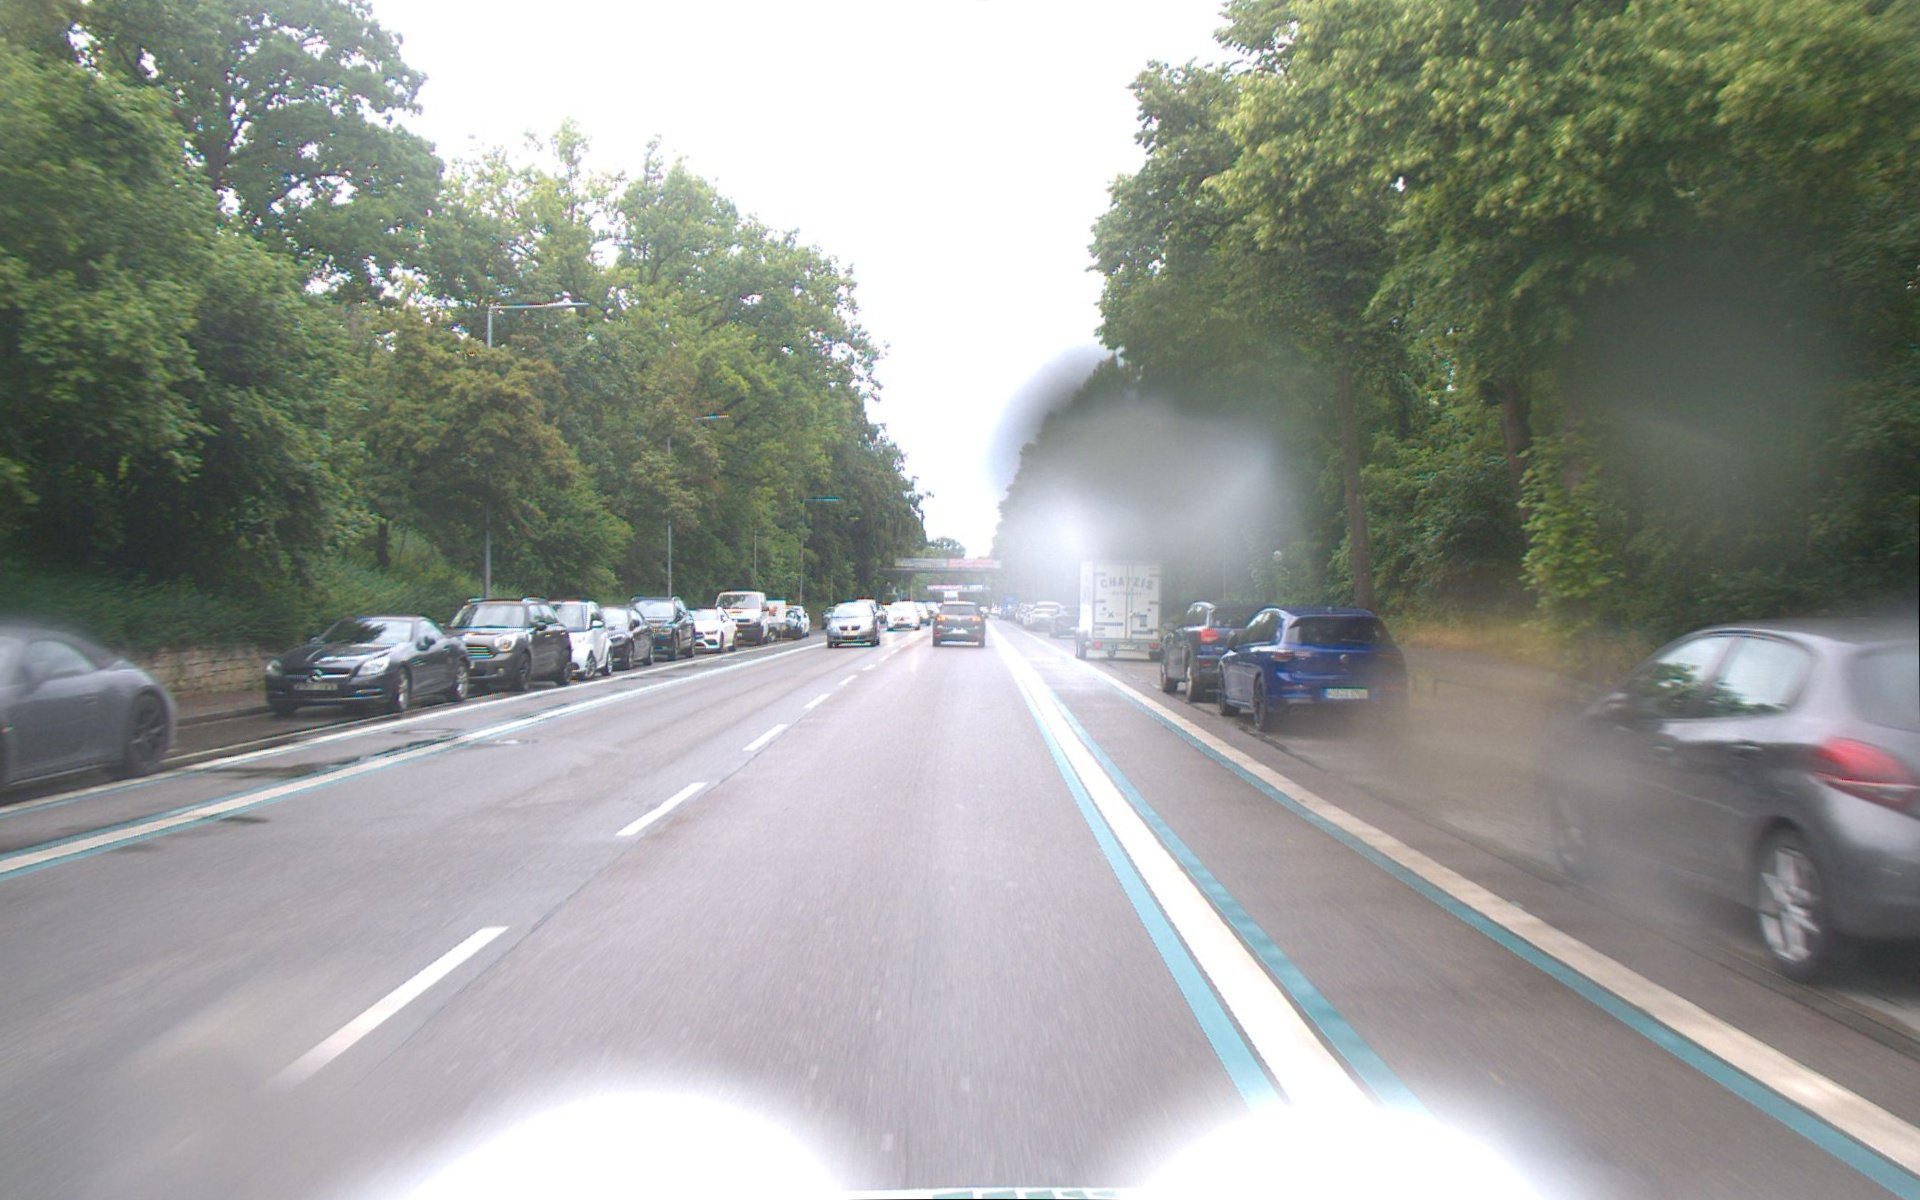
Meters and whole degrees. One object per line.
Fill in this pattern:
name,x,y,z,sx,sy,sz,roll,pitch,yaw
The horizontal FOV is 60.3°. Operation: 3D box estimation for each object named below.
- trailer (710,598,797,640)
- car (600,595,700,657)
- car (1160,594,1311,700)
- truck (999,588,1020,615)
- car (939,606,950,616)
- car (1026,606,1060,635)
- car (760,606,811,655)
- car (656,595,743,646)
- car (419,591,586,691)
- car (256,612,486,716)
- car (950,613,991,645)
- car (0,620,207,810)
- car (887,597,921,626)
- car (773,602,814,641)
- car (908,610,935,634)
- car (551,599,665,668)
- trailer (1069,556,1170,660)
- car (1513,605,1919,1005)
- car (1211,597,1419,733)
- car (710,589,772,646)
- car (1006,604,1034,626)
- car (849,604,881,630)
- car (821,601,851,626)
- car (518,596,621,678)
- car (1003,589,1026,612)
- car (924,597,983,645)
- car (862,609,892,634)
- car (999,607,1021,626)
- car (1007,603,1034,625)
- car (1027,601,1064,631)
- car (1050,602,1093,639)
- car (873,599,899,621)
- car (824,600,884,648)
trailer,-8.336,0.748,66.879,1.595,1.657,3.664,0,0,31
car,-8.354,0.689,44.972,1.841,1.589,4.468,0,0,0
car,4.319,0.696,26.426,1.678,1.539,3.975,1,0,-1
truck,5.017,0.149,167.238,2.069,2.644,4.301,0,0,0
car,-1.876,1.373,200.596,1.350,1.150,3.313,0,0,0
car,4.848,1.174,96.857,1.858,1.634,4.000,0,0,1
car,-7.586,1.310,72.207,1.901,2.049,4.737,0,0,-3
car,-8.058,0.613,51.482,1.952,1.514,4.468,0,0,0
car,-7.923,0.672,29.028,1.661,1.611,4.139,0,0,2
car,-8.239,0.845,23.558,1.661,1.323,4.193,0,0,2
car,0.512,1.449,84.514,1.843,1.491,3.998,2,0,-3
car,-7.871,0.854,13.034,1.831,1.326,4.470,0,0,0
car,-3.104,0.617,92.146,1.798,1.544,3.999,0,0,-1
car,-7.908,1.011,78.679,1.543,1.801,3.415,0,0,1
car,-2.629,1.486,114.278,1.671,1.599,4.000,0,0,1
car,-8.195,0.758,38.864,1.771,1.514,4.467,0,0,-1
trailer,4.164,0.207,43.764,2.089,2.605,4.295,0,0,-2
car,4.200,0.793,8.207,1.582,1.496,4.000,1,0,1
car,4.350,0.737,20.893,1.647,1.507,4.318,1,0,0
car,-8.144,0.627,61.858,1.901,2.049,4.737,0,0,-3
car,4.434,1.086,122.547,1.952,1.590,4.000,0,0,1
car,-7.526,1.328,131.611,2.114,2.049,5.031,0,0,1
car,-7.995,0.845,106.851,1.638,1.540,3.630,1,0,-1
car,-7.882,0.716,33.587,1.431,1.598,2.983,0,0,-1
car,4.977,0.082,151.152,1.953,2.049,3.999,0,-1,-1
car,-0.255,0.733,55.216,1.834,1.466,4.294,2,-2,-2
car,-6.978,1.822,139.682,2.114,2.049,5.031,0,0,1
car,4.796,1.572,159.171,1.952,1.803,4.000,-1,-1,0
car,4.634,1.067,127.340,1.952,1.590,4.000,0,0,1
car,4.737,0.886,92.243,1.858,1.634,4.000,0,0,1
car,4.866,0.870,72.531,1.686,1.552,4.000,0,0,1
car,-7.002,0.931,156.210,2.114,2.049,5.031,0,0,1
car,-3.499,0.769,55.174,1.664,1.511,4.035,-1,0,0
